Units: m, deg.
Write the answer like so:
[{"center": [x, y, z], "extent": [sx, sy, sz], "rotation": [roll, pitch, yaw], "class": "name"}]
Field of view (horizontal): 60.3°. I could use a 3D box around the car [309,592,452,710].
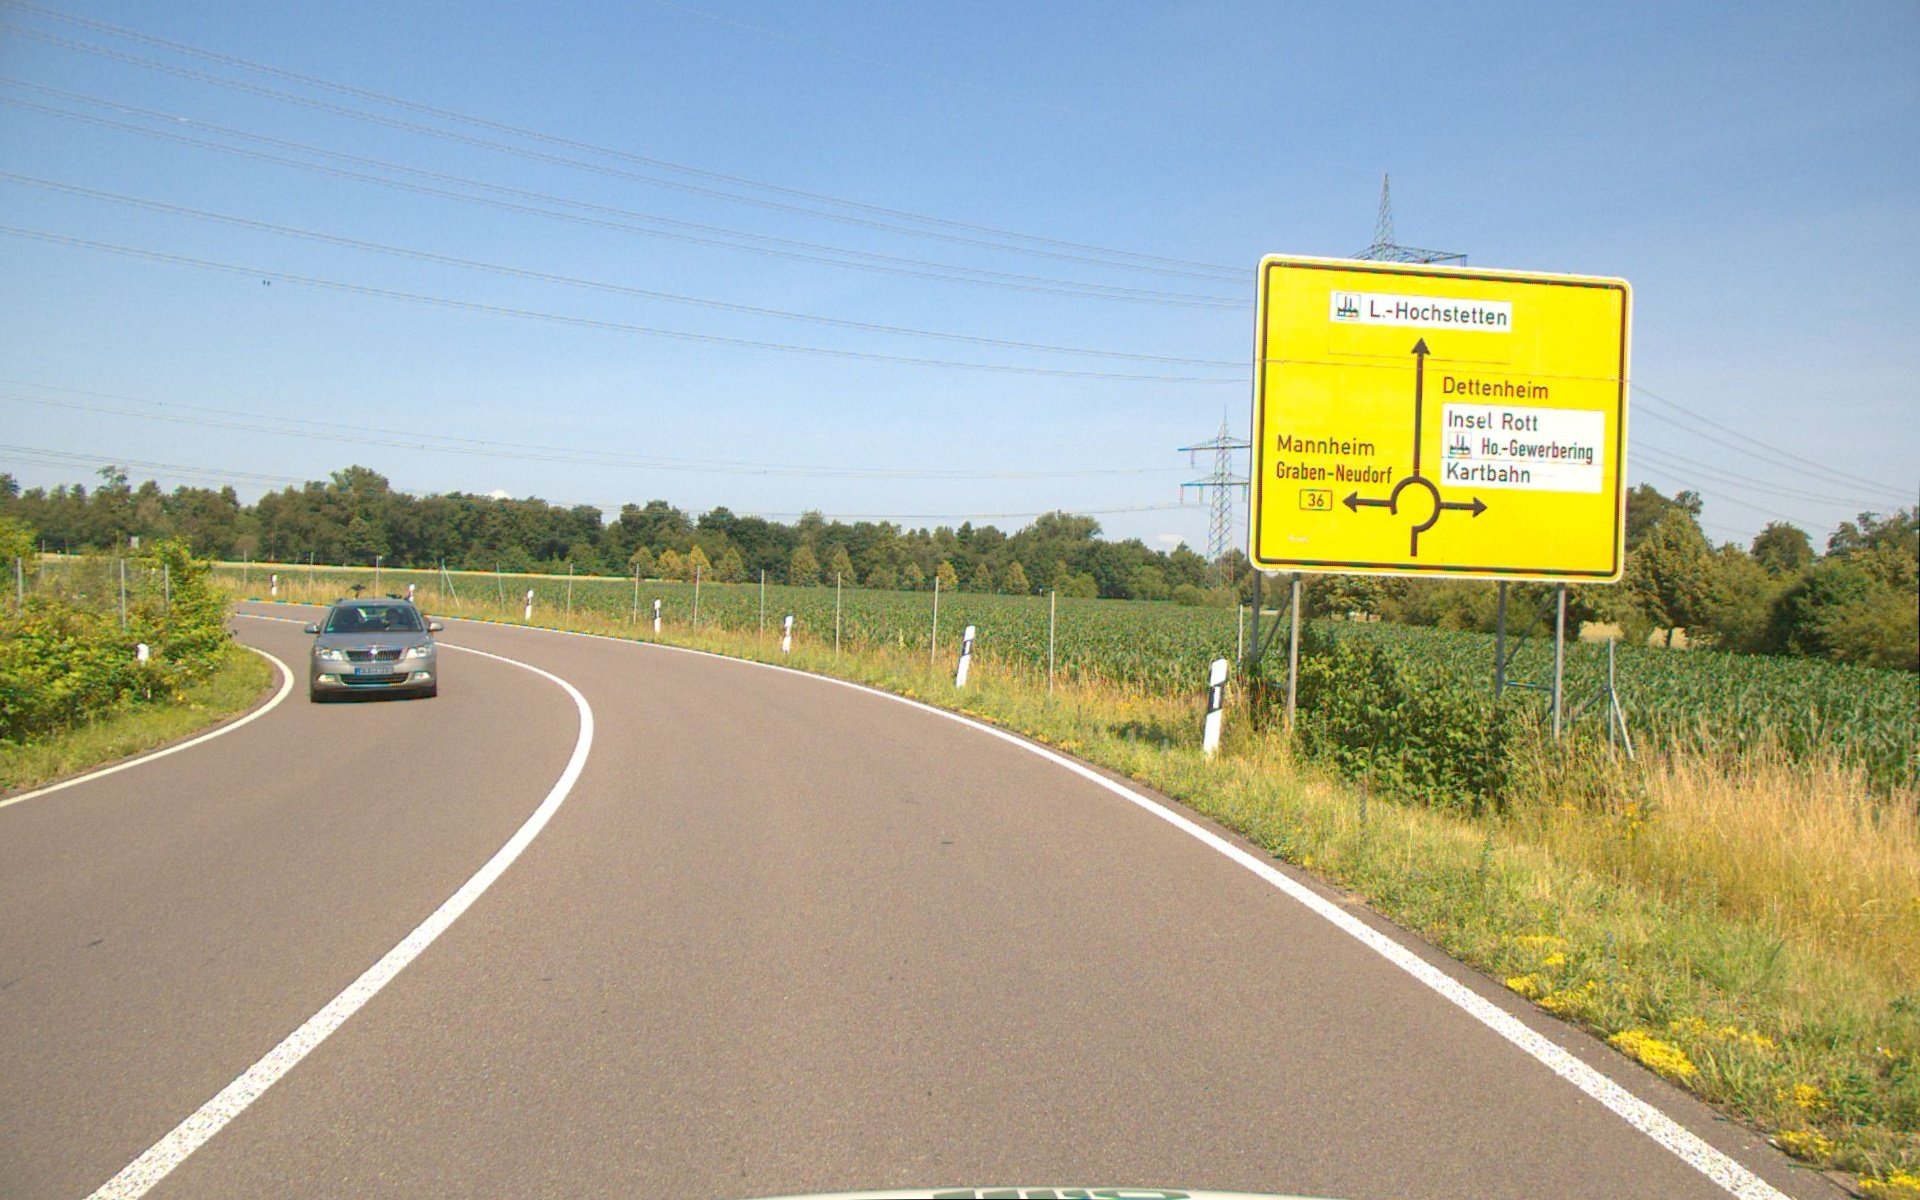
[{"center": [-8.905, 0.686, 25.510], "extent": [1.838, 1.506, 5.107], "rotation": [-2, 2, -19], "class": "car"}]
